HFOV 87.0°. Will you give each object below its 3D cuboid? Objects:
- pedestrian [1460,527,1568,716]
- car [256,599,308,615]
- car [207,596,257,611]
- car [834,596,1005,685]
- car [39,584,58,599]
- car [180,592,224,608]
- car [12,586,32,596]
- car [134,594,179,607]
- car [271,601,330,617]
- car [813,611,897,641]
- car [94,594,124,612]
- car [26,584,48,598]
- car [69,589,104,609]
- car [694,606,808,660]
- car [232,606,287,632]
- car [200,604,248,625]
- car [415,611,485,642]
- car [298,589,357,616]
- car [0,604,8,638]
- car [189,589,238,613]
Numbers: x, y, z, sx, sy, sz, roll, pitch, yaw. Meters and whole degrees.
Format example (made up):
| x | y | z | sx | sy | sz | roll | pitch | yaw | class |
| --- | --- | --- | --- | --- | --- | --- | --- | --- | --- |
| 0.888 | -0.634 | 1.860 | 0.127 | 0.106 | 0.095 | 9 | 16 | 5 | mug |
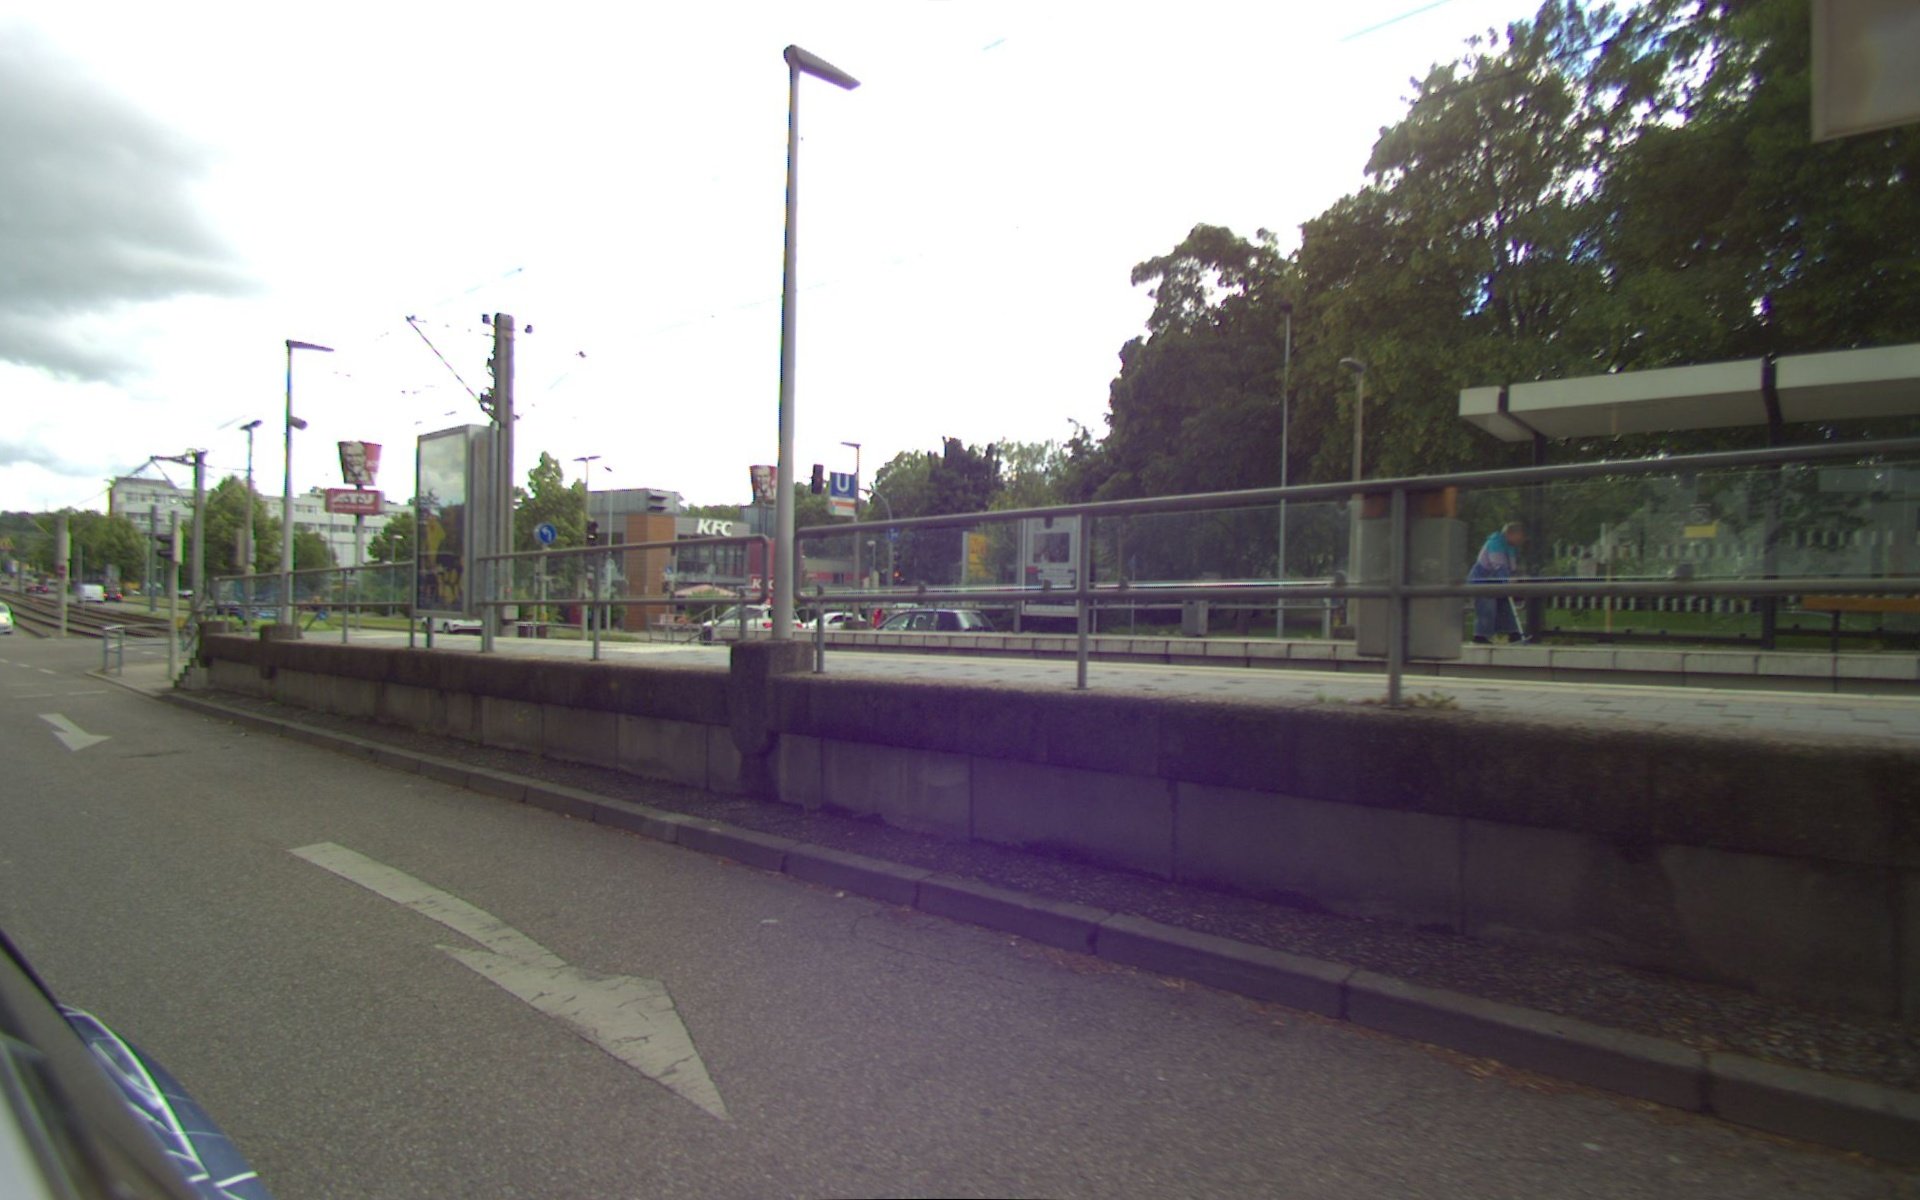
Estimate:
| x | y | z | sx | sy | sz | roll | pitch | yaw | class |
| --- | --- | --- | --- | --- | --- | --- | --- | --- | --- |
| 6.839 | 0.249 | 12.492 | 0.976 | 2.202 | 0.959 | 0 | -1 | 42 | pedestrian |
| -68.064 | 0.684 | 101.641 | 1.938 | 1.431 | 3.943 | 1 | 2 | 43 | car |
| -84.050 | 0.383 | 116.876 | 1.794 | 1.518 | 4.424 | 1 | 2 | 41 | car |
| -1.025 | 0.876 | 24.148 | 3.998 | 1.874 | 1.680 | 1 | 2 | 41 | car |
| -161.444 | -1.492 | 179.180 | 6.000 | 2.518 | 1.848 | 1 | -2 | 43 | car |
| -97.270 | -0.062 | 129.938 | 4.294 | 1.933 | 2.002 | -2 | 2 | -43 | car |
| -156.406 | -1.488 | 168.662 | 4.477 | 1.594 | 1.765 | 1 | -2 | 39 | car |
| -105.891 | 0.038 | 133.379 | 4.546 | 1.503 | 2.002 | -2 | 2 | -43 | car |
| -62.867 | 0.861 | 96.548 | 2.196 | 1.364 | 4.325 | 1 | 2 | 43 | car |
| -5.307 | 1.316 | 51.184 | 3.828 | 1.418 | 1.851 | 2 | -1 | -38 | car |
| -101.716 | 0.370 | 120.958 | 4.104 | 2.029 | 1.973 | 1 | -1 | 40 | car |
| -147.329 | -1.427 | 161.529 | 3.997 | 2.029 | 1.973 | 1 | -2 | 40 | car |
| -94.922 | -0.113 | 109.990 | 4.879 | 2.029 | 1.974 | 1 | -1 | 38 | car |
| -7.553 | 1.144 | 36.338 | 4.398 | 1.764 | 1.692 | 1 | -1 | 41 | car |
| -43.059 | 1.139 | 62.195 | 4.048 | 1.457 | 1.579 | 1 | -2 | 38 | car |
| -57.934 | 1.146 | 79.625 | 4.503 | 1.493 | 1.973 | -1 | -3 | 40 | car |
| -26.387 | 1.347 | 52.273 | 3.995 | 1.457 | 1.669 | 1 | -2 | 39 | car |
| -55.564 | 0.178 | 88.927 | 2.059 | 2.181 | 3.943 | 1 | 2 | 43 | car |
| -44.533 | 0.946 | 45.783 | 3.999 | 1.454 | 1.763 | 1 | 2 | 42 | car |
| -90.712 | 0.176 | 123.020 | 2.289 | 2.769 | 4.420 | 1 | -1 | 43 | car |
